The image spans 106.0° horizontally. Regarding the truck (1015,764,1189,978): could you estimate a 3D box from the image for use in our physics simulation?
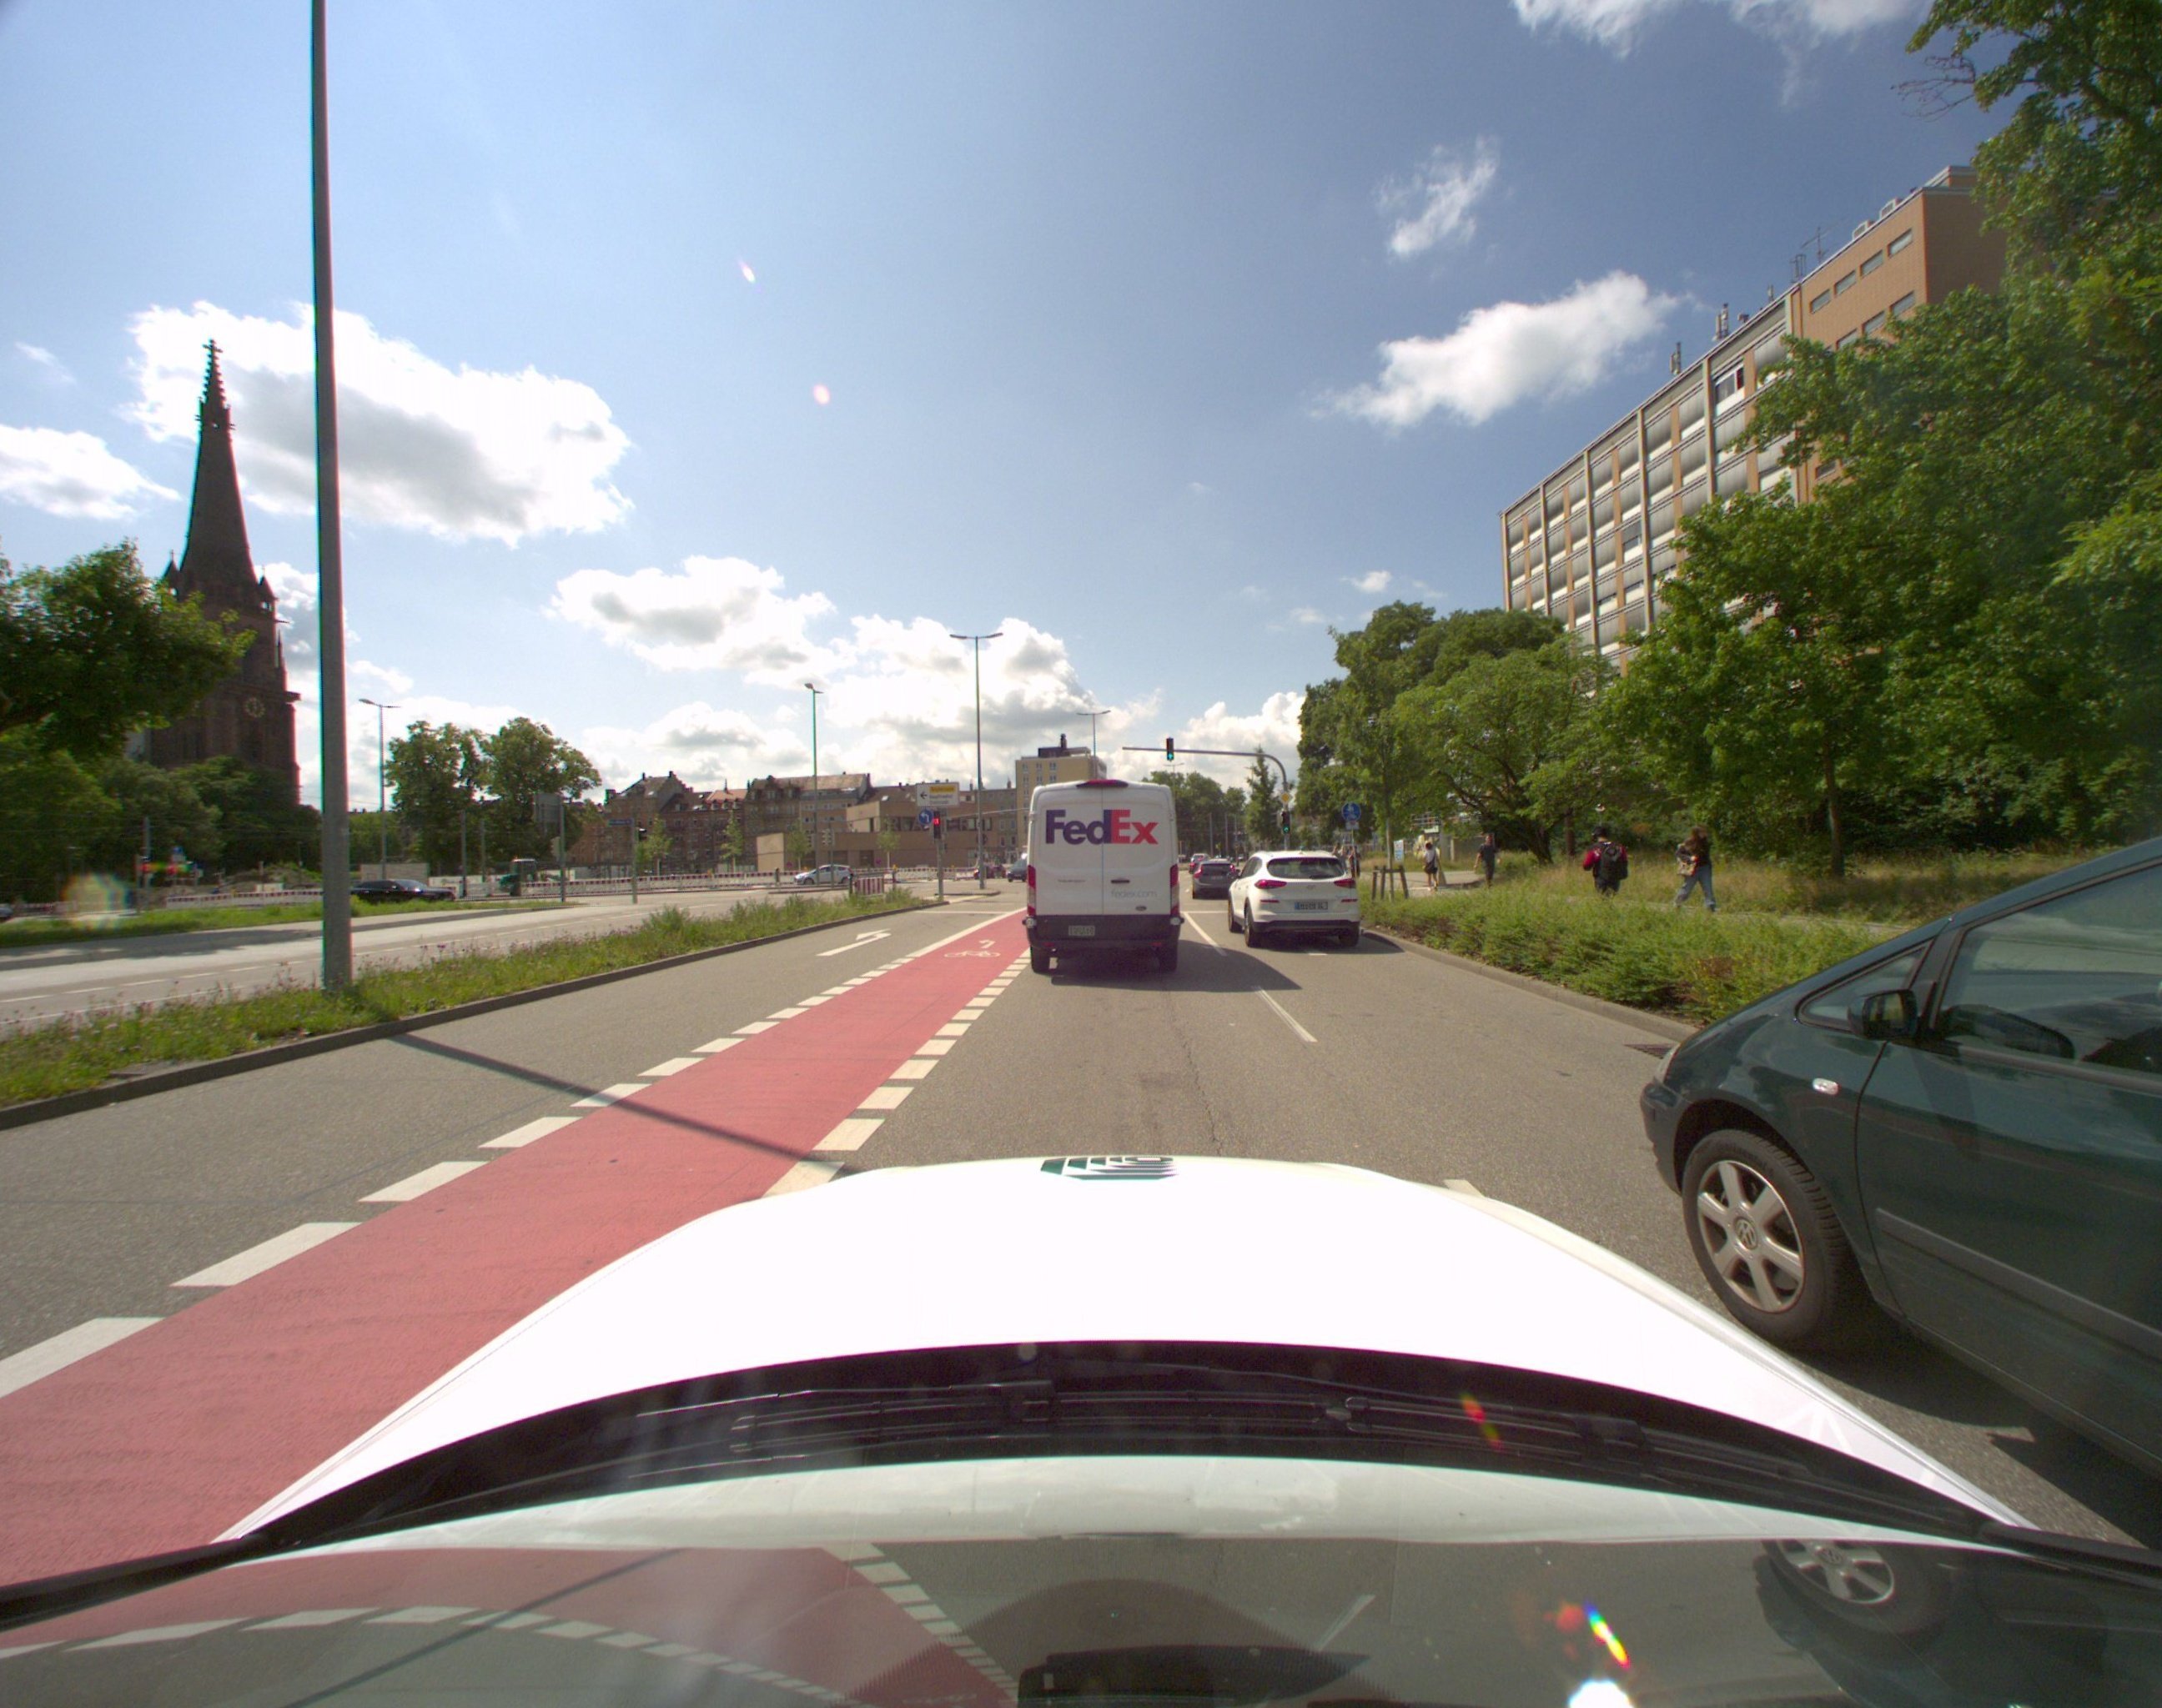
[{"bbox_3d":[0.359,0.236,13.065,2.129,2.640,5.920,-1,-1,2],"label":"truck"}]

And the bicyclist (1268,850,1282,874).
[{"bbox_3d":[13.346,0.552,56.046,0.823,1.601,0.581,-4,-2,9],"label":"bicyclist"}]

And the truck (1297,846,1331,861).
[{"bbox_3d":[47.351,-0.052,165.318,2.859,2.852,8.844,-2,-1,45],"label":"truck"}]

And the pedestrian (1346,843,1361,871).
[{"bbox_3d":[17.862,0.210,53.323,0.745,1.752,0.611,-3,0,8],"label":"pedestrian"}]

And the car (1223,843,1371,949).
[{"bbox_3d":[3.824,0.679,15.175,1.873,1.641,4.237,-2,0,4],"label":"car"}]

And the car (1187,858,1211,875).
[{"bbox_3d":[10.994,1.111,75.794,1.869,1.506,4.169,-1,0,12],"label":"car"}]

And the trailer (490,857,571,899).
[{"bbox_3d":[-39.285,1.674,58.171,1.974,2.914,4.393,-1,-1,38],"label":"trailer"}]

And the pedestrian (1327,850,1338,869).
[{"bbox_3d":[24.516,0.568,79.466,0.752,1.821,0.781,-5,-2,4],"label":"pedestrian"}]

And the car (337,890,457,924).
[{"bbox_3d":[-35.538,2.752,42.391,4.479,1.486,2.001,-2,0,1],"label":"car"}]

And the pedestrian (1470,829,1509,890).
[{"bbox_3d":[12.125,0.157,24.187,0.746,1.750,0.668,-3,0,2],"label":"pedestrian"}]

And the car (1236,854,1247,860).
[{"bbox_3d":[41.336,0.867,210.017,1.976,1.574,4.201,-1,-1,24],"label":"car"}]

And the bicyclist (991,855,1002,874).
[{"bbox_3d":[-6.837,0.844,65.962,0.561,1.461,0.840,-2,0,13],"label":"bicyclist"}]

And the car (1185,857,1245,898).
[{"bbox_3d":[5.139,0.880,31.721,1.906,1.420,3.922,-2,0,4],"label":"car"}]

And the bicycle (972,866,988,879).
[{"bbox_3d":[-7.722,1.401,62.165,0.772,0.889,2.111,-2,0,5],"label":"bicycle"}]

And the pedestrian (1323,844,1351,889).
[{"bbox_3d":[10.587,0.514,33.708,0.748,1.777,0.880,-3,0,-4],"label":"pedestrian"}]

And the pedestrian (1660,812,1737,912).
[{"bbox_3d":[11.295,0.137,14.934,0.664,1.750,0.878,-3,0,2],"label":"pedestrian"}]

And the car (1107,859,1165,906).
[{"bbox_3d":[1.907,0.914,27.440,1.733,1.391,4.186,-2,0,5],"label":"car"}]

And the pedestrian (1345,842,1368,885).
[{"bbox_3d":[11.446,0.407,33.854,0.665,1.746,0.608,-3,0,-4],"label":"pedestrian"}]

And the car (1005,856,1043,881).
[{"bbox_3d":[-3.885,0.959,56.209,1.871,1.623,4.163,-1,0,7],"label":"car"}]

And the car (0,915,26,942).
[{"bbox_3d":[-63.044,4.305,45.768,4.642,1.486,1.998,-2,0,-3],"label":"car"}]

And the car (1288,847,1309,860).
[{"bbox_3d":[29.501,-0.073,110.397,1.863,1.641,3.981,-2,0,27],"label":"car"}]

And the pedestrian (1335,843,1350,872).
[{"bbox_3d":[17.037,0.232,53.067,0.745,1.802,0.611,-3,0,8],"label":"pedestrian"}]

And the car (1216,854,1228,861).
[{"bbox_3d":[36.777,0.939,212.366,1.976,1.574,4.201,-1,-1,24],"label":"car"}]

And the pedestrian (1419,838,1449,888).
[{"bbox_3d":[11.658,0.302,26.912,0.664,1.596,0.648,-3,0,2],"label":"pedestrian"}]

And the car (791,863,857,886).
[{"bbox_3d":[-17.715,1.374,56.132,4.030,1.508,1.980,0,-1,-31],"label":"car"}]

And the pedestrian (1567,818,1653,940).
[{"bbox_3d":[7.937,0.363,12.255,0.664,1.750,0.848,-3,0,2],"label":"pedestrian"}]

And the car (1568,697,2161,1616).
[{"bbox_3d":[2.914,0.571,1.294,1.787,1.723,4.450,0,0,2],"label":"car"}]

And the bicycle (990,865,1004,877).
[{"bbox_3d":[-6.820,1.395,65.941,0.563,0.889,1.749,-2,0,13],"label":"bicycle"}]

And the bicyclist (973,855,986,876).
[{"bbox_3d":[-7.738,0.881,62.195,0.772,1.618,0.844,-2,0,5],"label":"bicyclist"}]

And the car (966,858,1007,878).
[{"bbox_3d":[-7.993,1.176,69.182,1.978,1.486,3.923,-2,0,18],"label":"car"}]

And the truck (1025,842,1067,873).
[{"bbox_3d":[-3.526,0.405,83.313,1.978,3.068,7.361,-1,-1,17],"label":"truck"}]

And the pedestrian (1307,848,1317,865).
[{"bbox_3d":[22.314,0.216,78.644,0.752,1.590,0.762,0,-1,4],"label":"pedestrian"}]
